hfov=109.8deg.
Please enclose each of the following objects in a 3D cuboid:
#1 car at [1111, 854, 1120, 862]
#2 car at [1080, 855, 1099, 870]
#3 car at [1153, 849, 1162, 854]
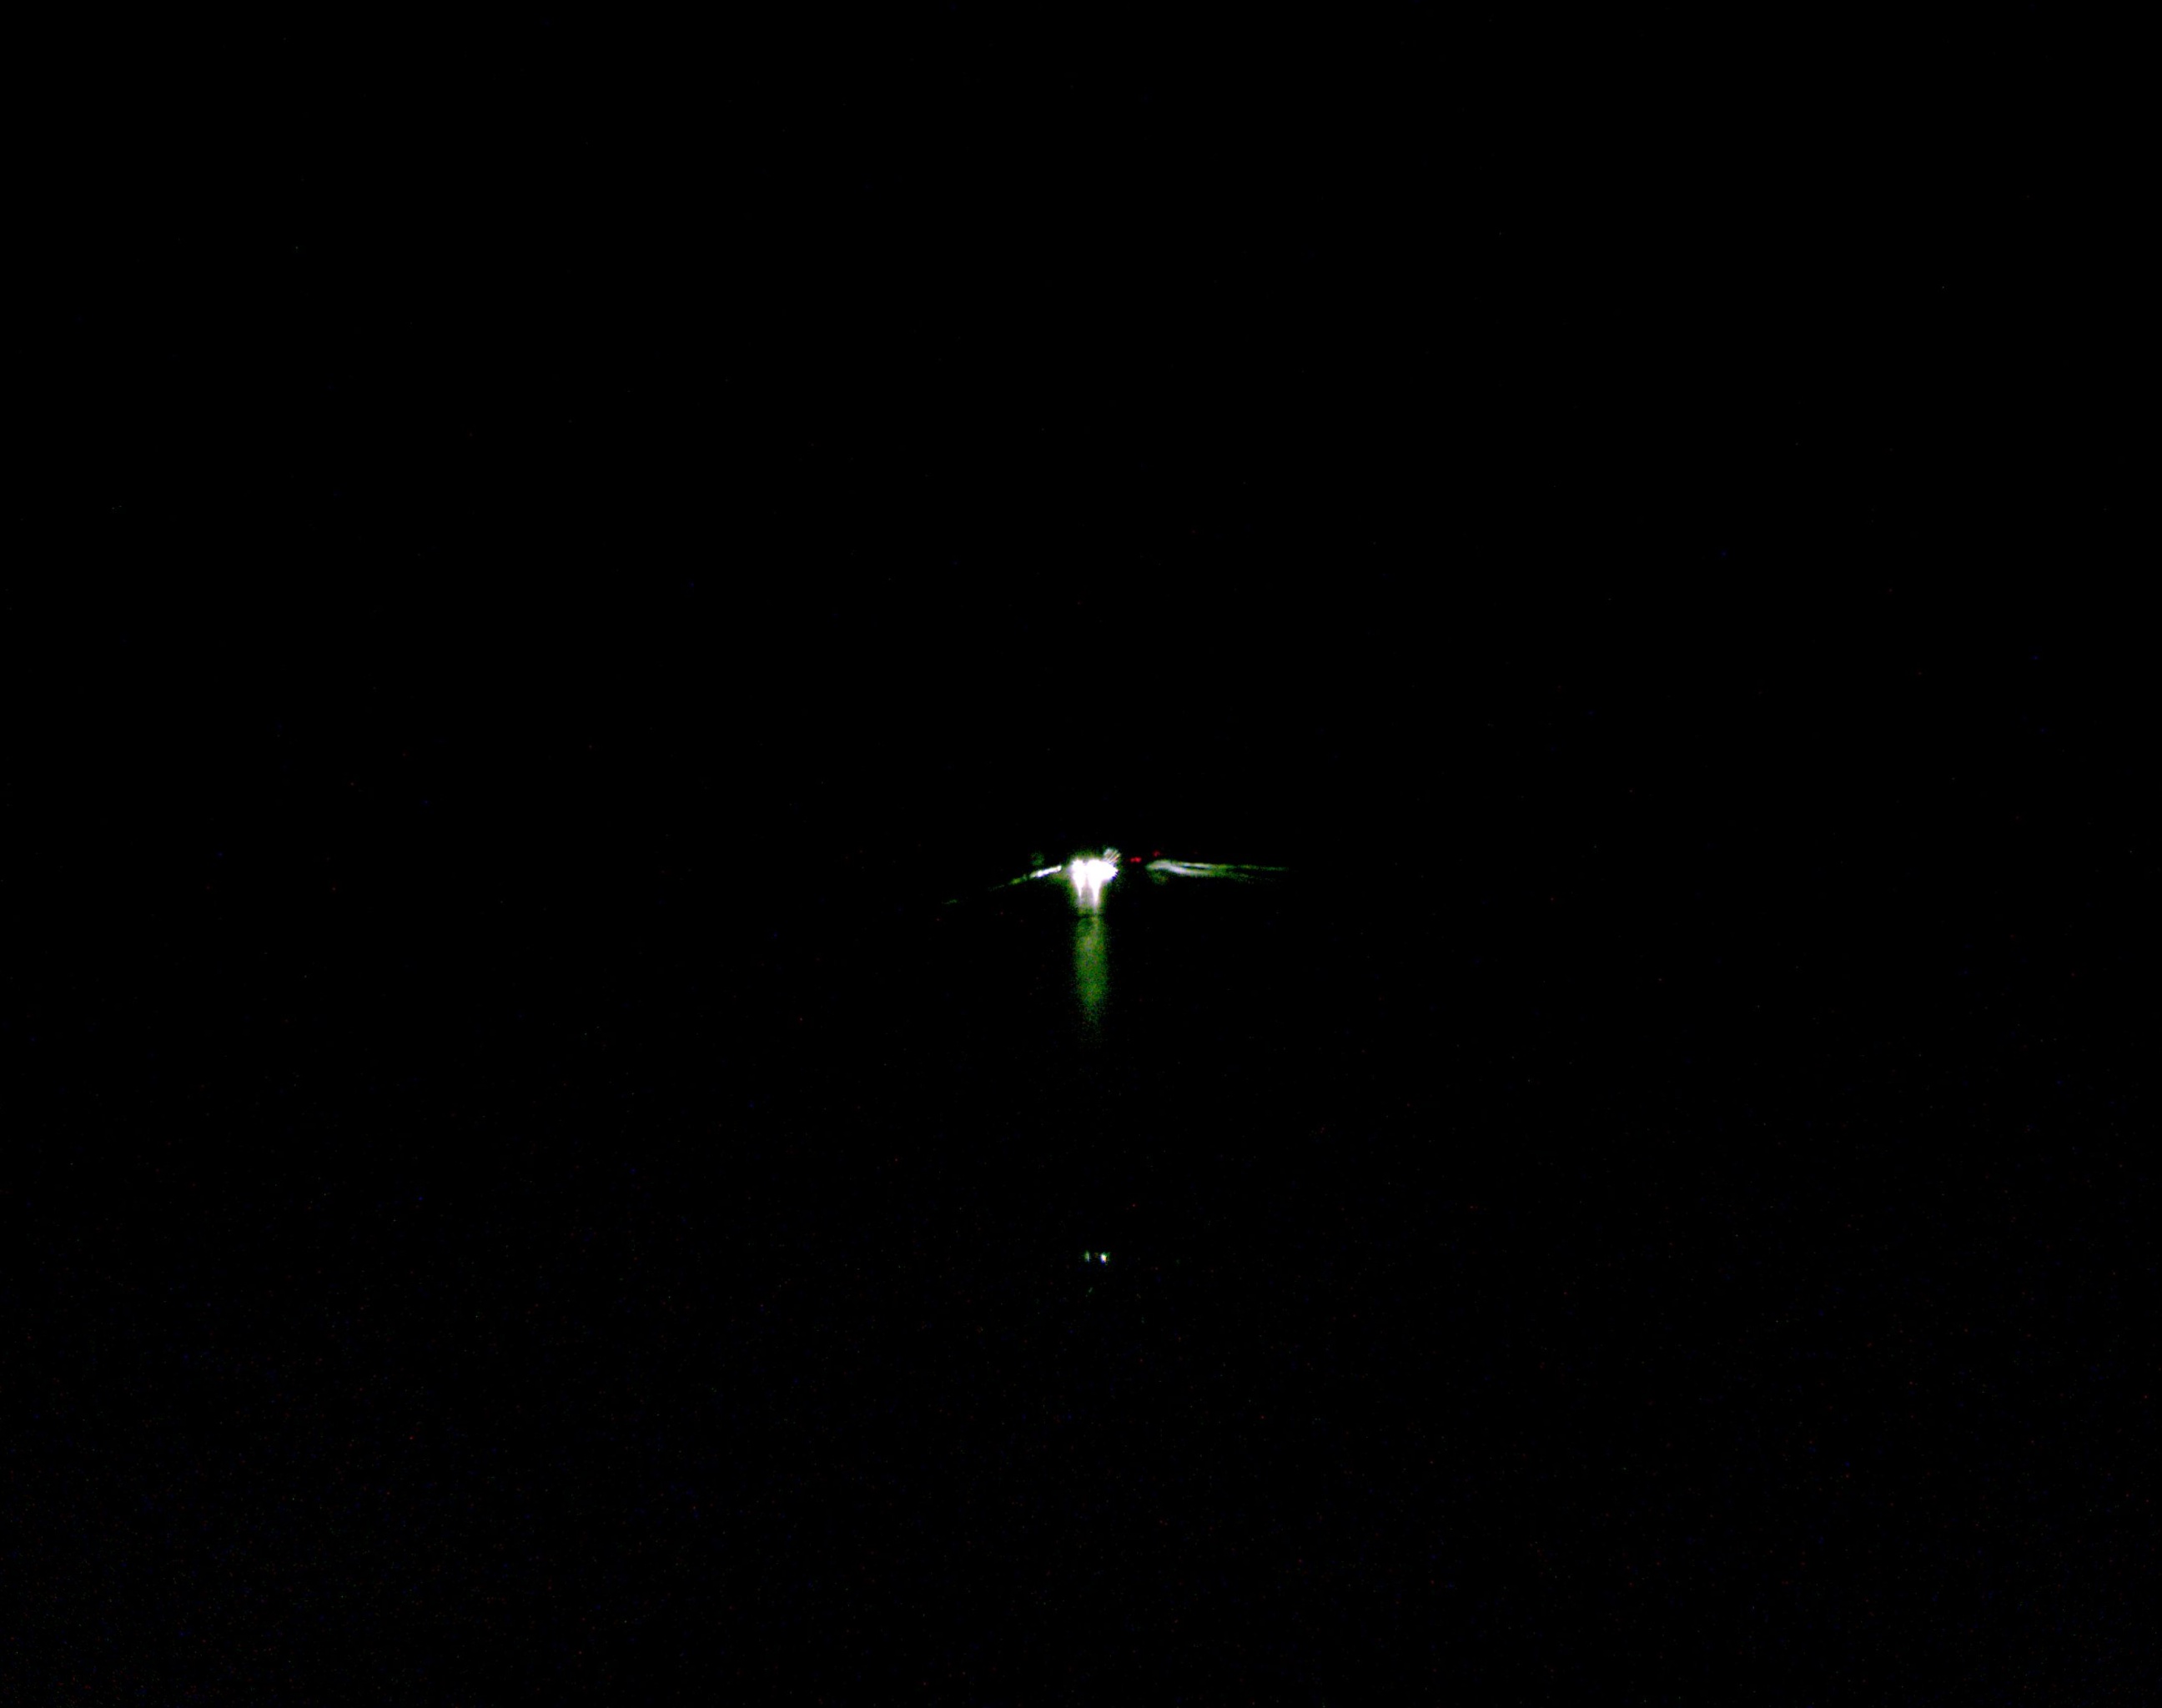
[{"bbox_3d":[8.001,0.955,175.509,1.838,1.536,4.647,-3,1,4],"label":"car"},{"bbox_3d":[0.938,0.937,82.791,1.807,1.452,4.276,-3,0,3],"label":"car"},{"bbox_3d":[25.345,-0.901,251.551,1.996,1.463,3.840,-3,0,16],"label":"car"}]
